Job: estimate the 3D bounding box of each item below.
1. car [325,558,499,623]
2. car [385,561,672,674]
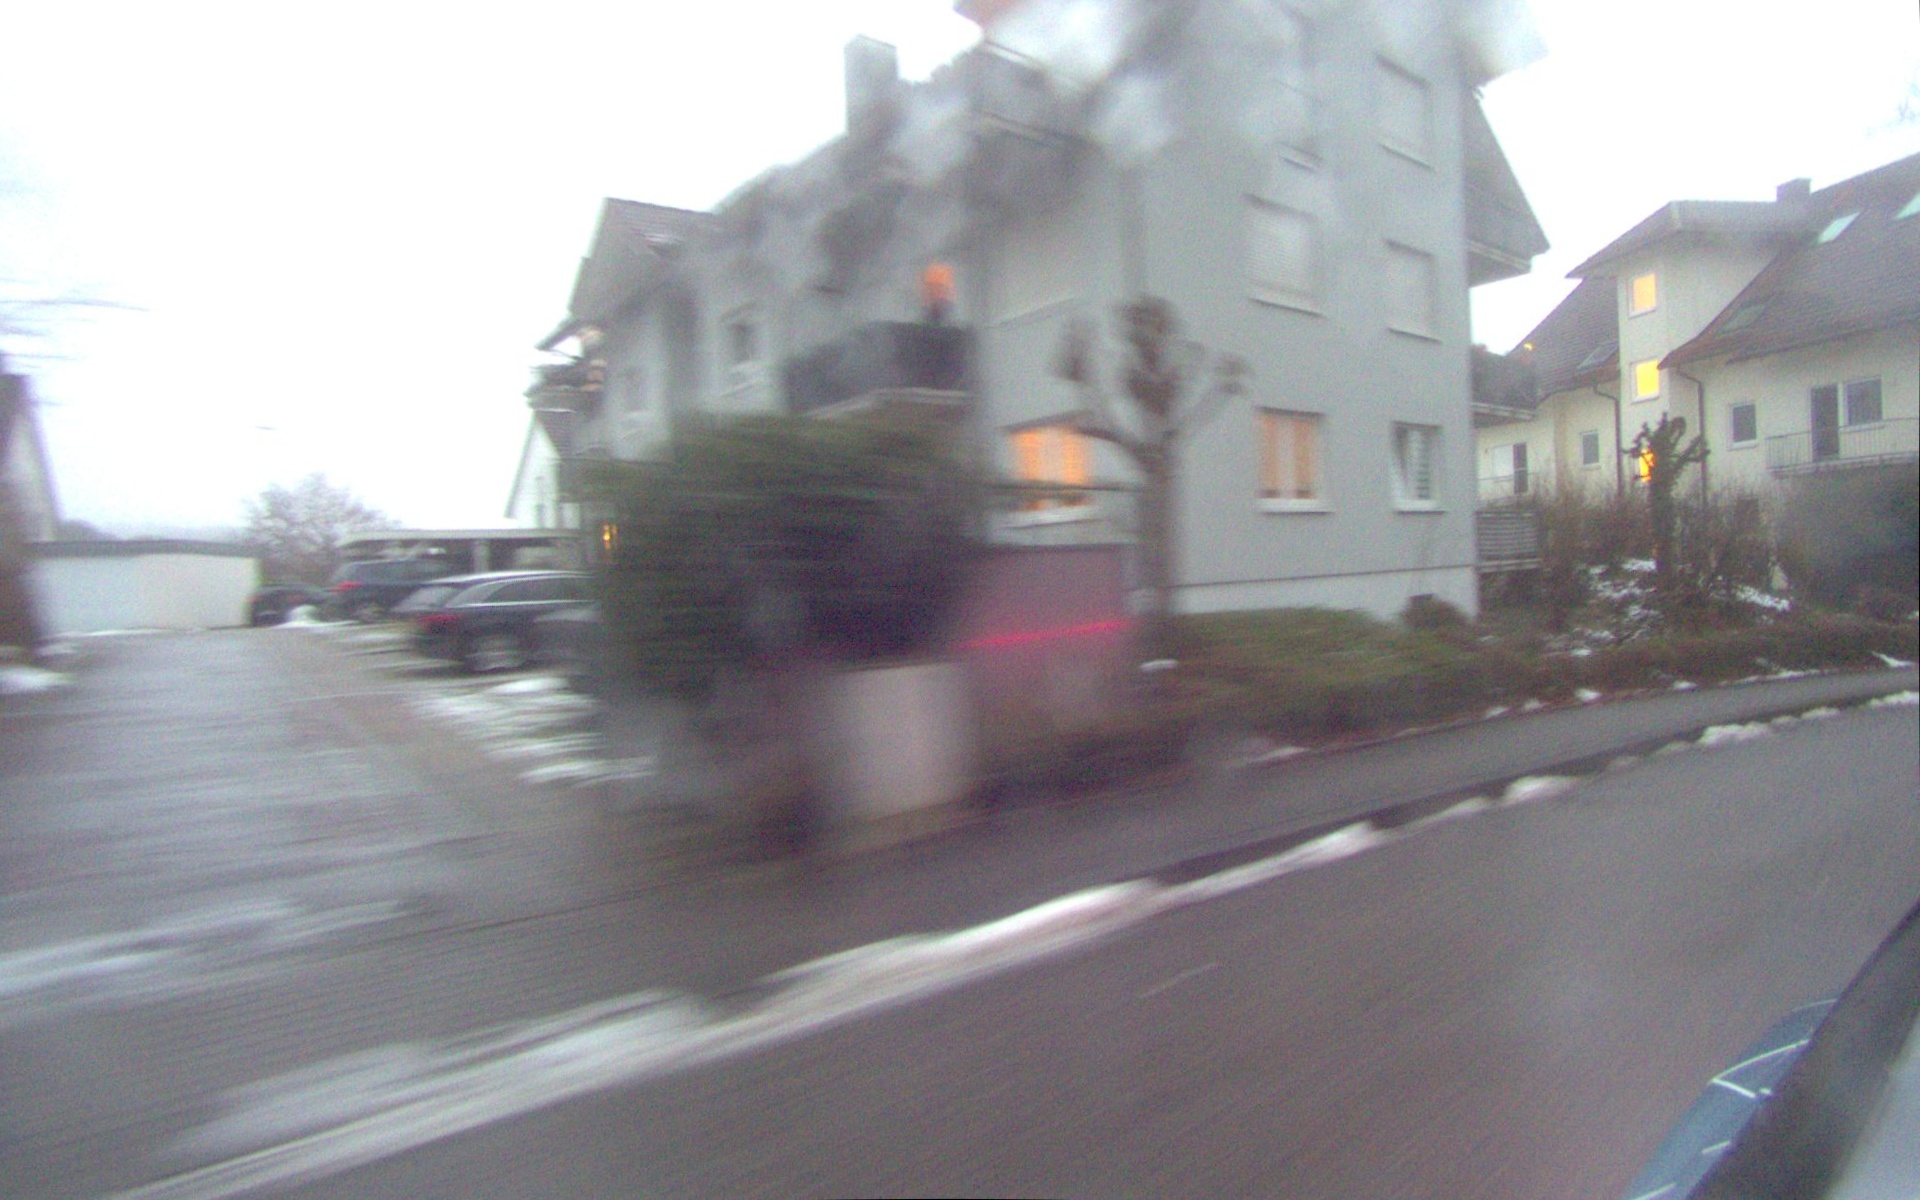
[{"bbox_3d":[-14.168,-0.233,26.248,3.686,1.549,1.850,0,0,-41],"label":"car"},{"bbox_3d":[-6.530,0.226,15.487,3.686,1.506,1.850,0,0,-41],"label":"car"}]
